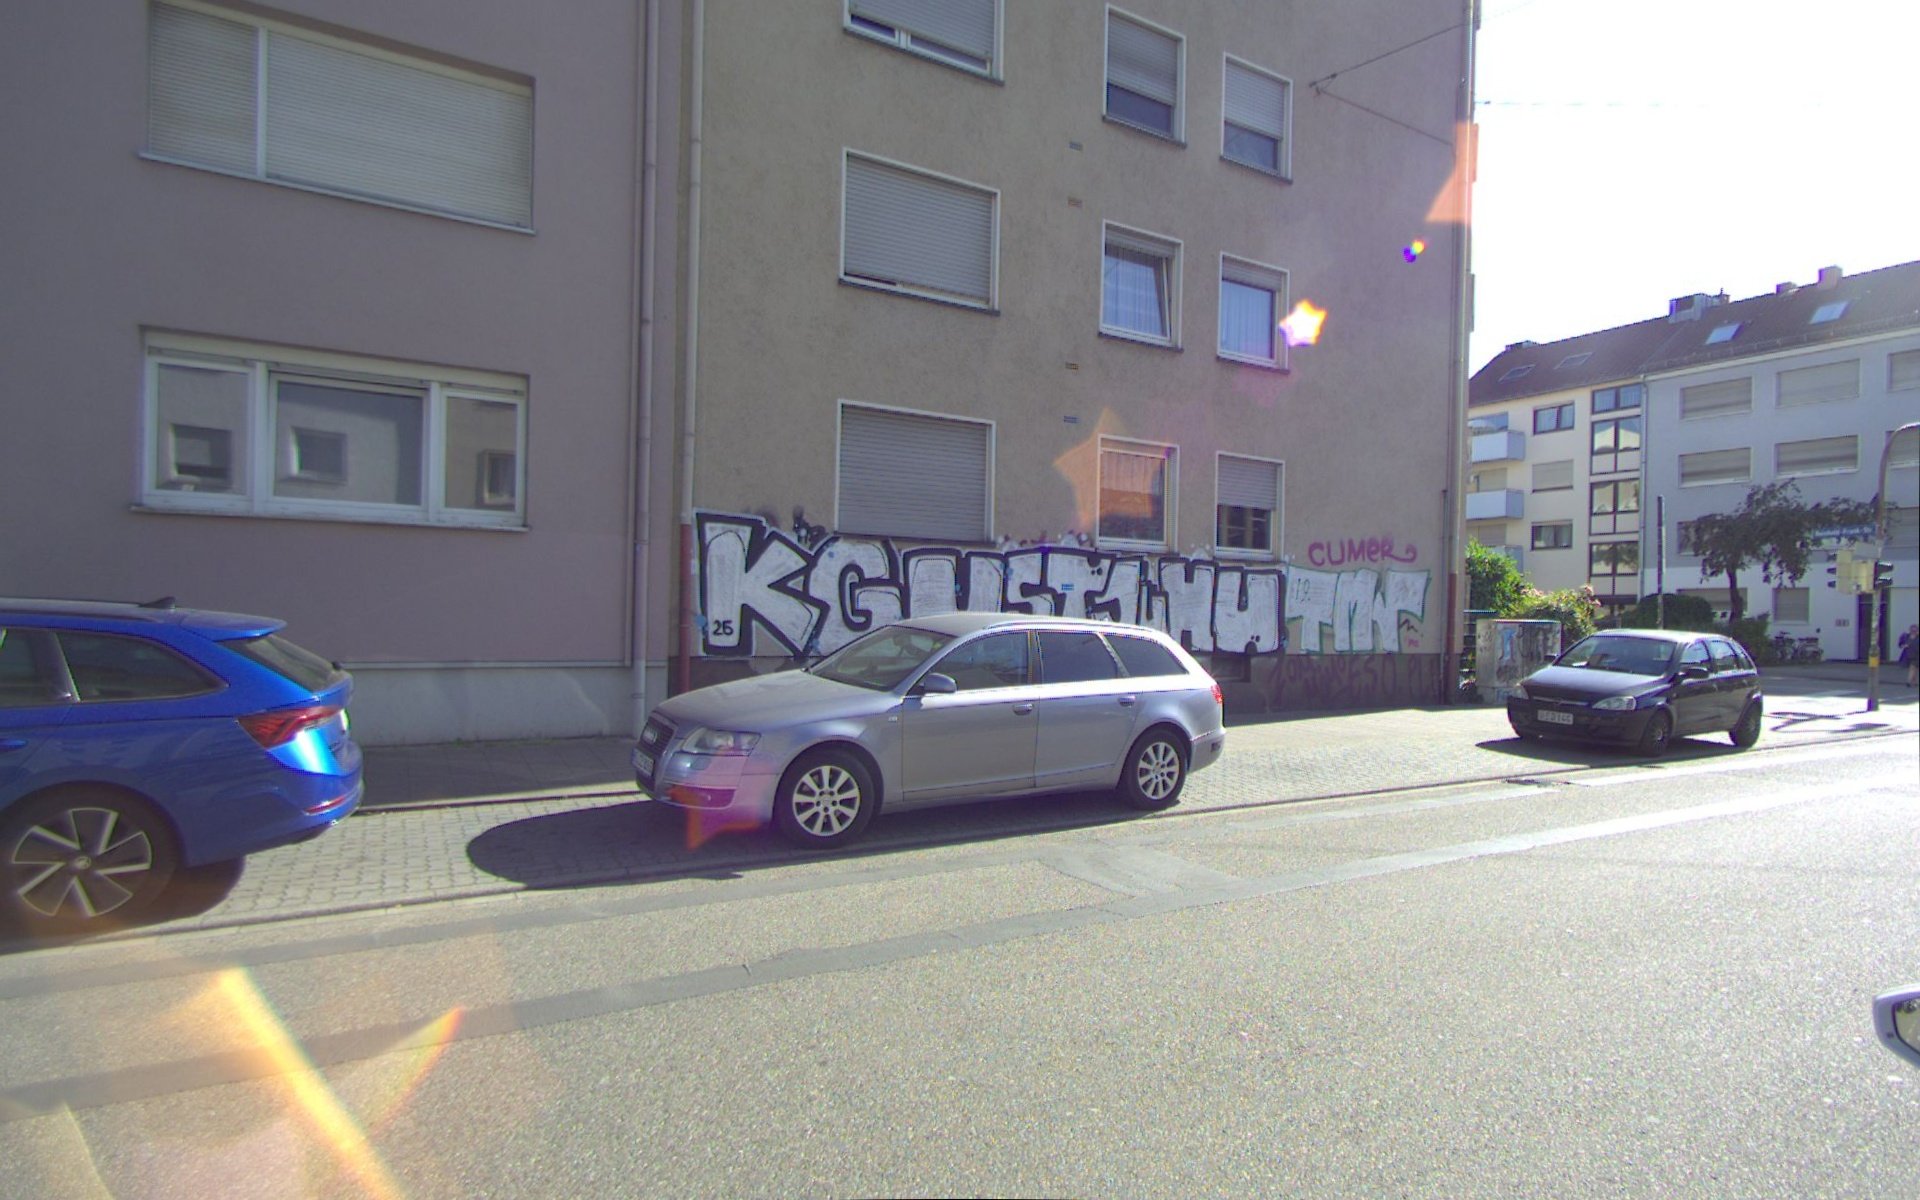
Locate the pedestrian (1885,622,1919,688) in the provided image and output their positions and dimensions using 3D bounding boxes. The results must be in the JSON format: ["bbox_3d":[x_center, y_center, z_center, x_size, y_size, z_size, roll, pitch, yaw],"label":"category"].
[{"bbox_3d":[24.958,1.433,26.496,0.957,1.705,0.570,1,0,-30],"label":"pedestrian"}]

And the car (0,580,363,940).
[{"bbox_3d":[-5.510,0.669,4.600,4.747,1.523,1.813,1,2,-32],"label":"car"}]

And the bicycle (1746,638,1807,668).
[{"bbox_3d":[27.983,1.811,34.446,0.506,0.952,1.583,1,-1,-27],"label":"bicycle"}]

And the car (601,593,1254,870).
[{"bbox_3d":[-0.105,0.795,7.757,4.747,1.523,1.813,1,2,-32],"label":"car"}]

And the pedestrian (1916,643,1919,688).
[{"bbox_3d":[25.069,1.692,25.922,0.524,1.161,0.384,1,0,-24],"label":"pedestrian"}]

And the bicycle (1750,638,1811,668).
[{"bbox_3d":[28.453,1.827,34.865,0.506,0.952,1.583,1,-1,-27],"label":"bicycle"}]

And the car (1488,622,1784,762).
[{"bbox_3d":[8.698,1.075,12.876,3.813,1.468,1.682,1,2,-32],"label":"car"}]
